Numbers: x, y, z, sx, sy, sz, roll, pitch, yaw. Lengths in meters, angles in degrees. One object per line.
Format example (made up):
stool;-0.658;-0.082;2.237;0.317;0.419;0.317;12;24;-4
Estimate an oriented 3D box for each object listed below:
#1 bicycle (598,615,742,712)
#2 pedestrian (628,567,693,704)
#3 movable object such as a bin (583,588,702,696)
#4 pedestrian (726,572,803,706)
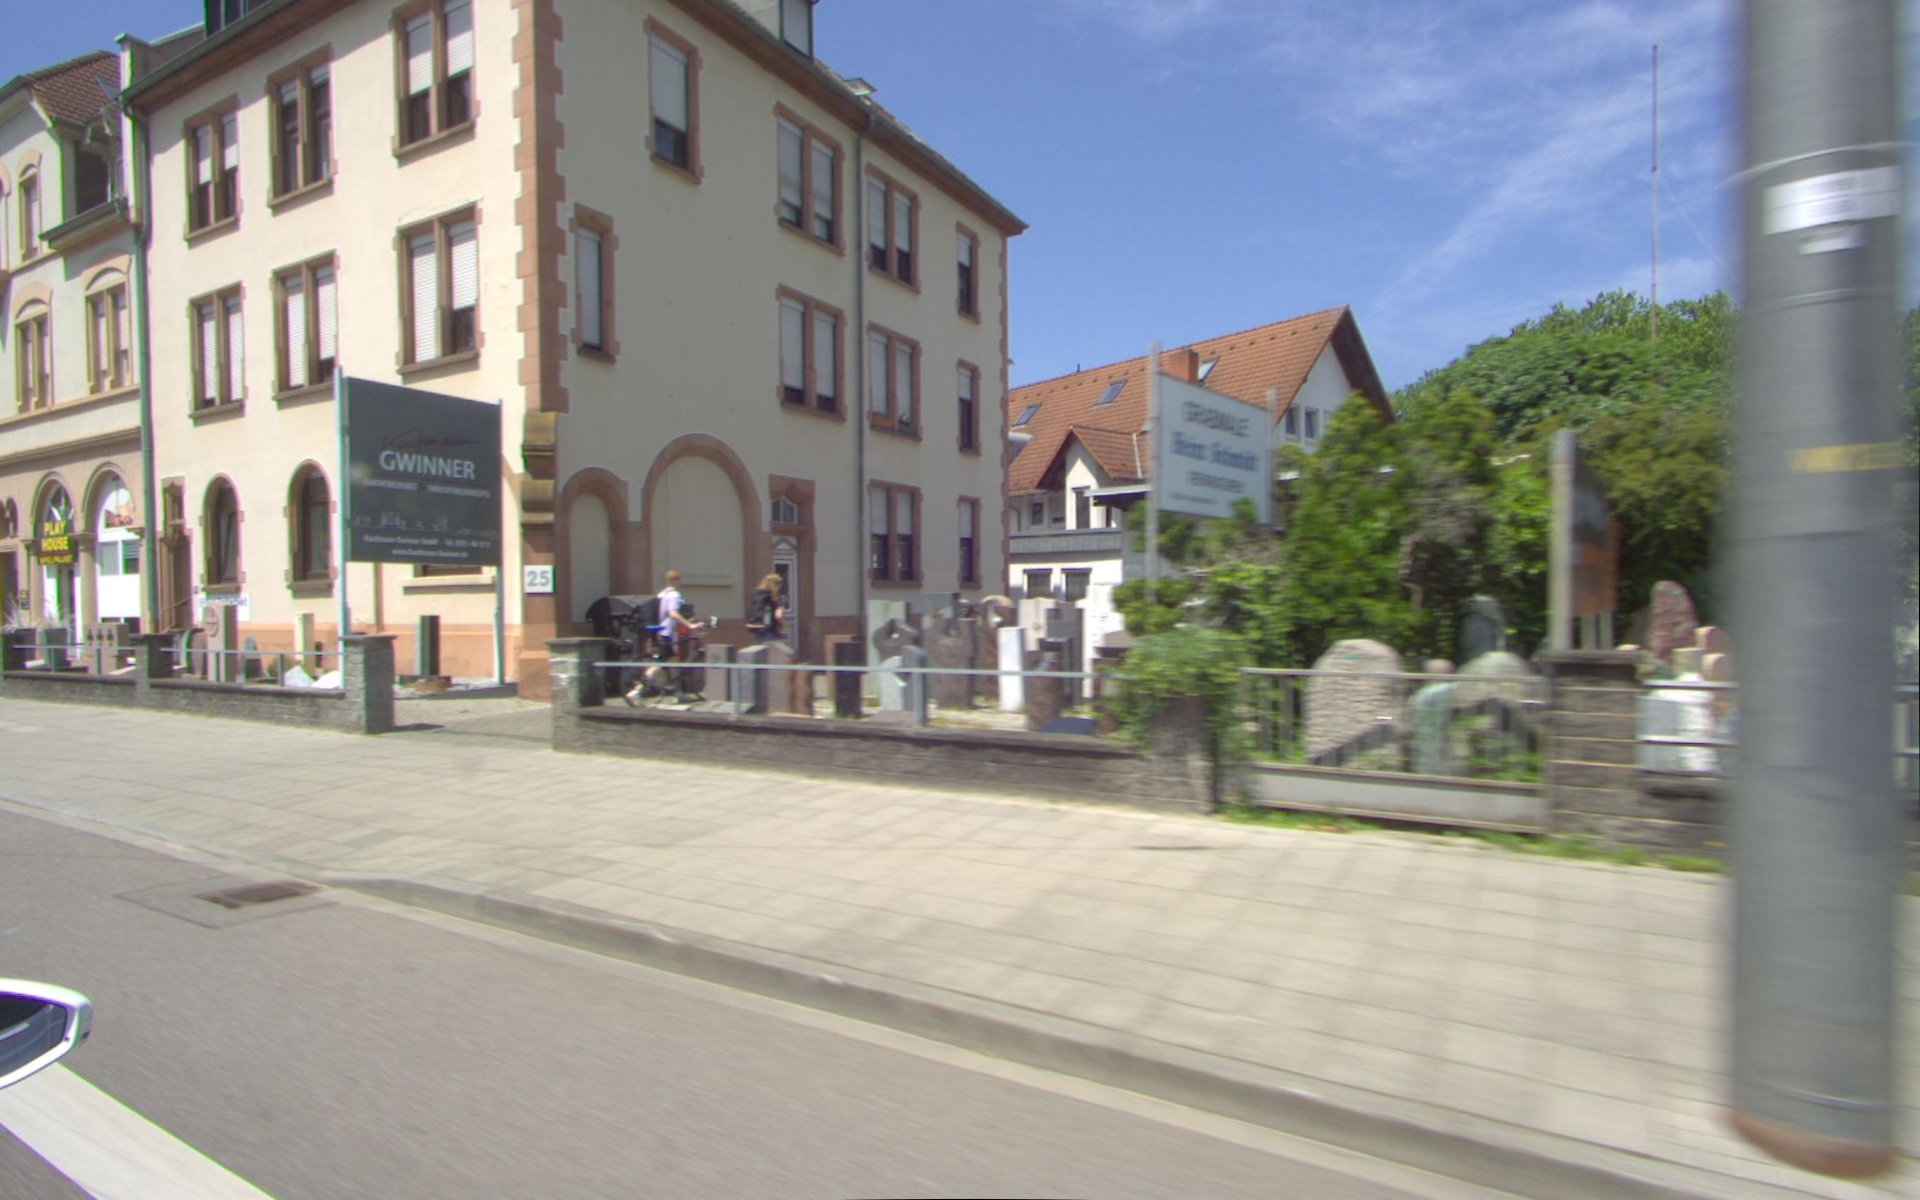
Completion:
bicycle;-3.820;0.801;13.322;0.583;1.142;1.793;0;2;40
pedestrian;-4.040;0.465;13.524;0.497;1.796;0.684;0;1;41
movable object such as a bin;-4.763;0.597;15.078;1.031;1.519;1.326;0;2;32
pedestrian;-2.603;0.502;13.358;0.582;1.713;0.820;0;1;41
